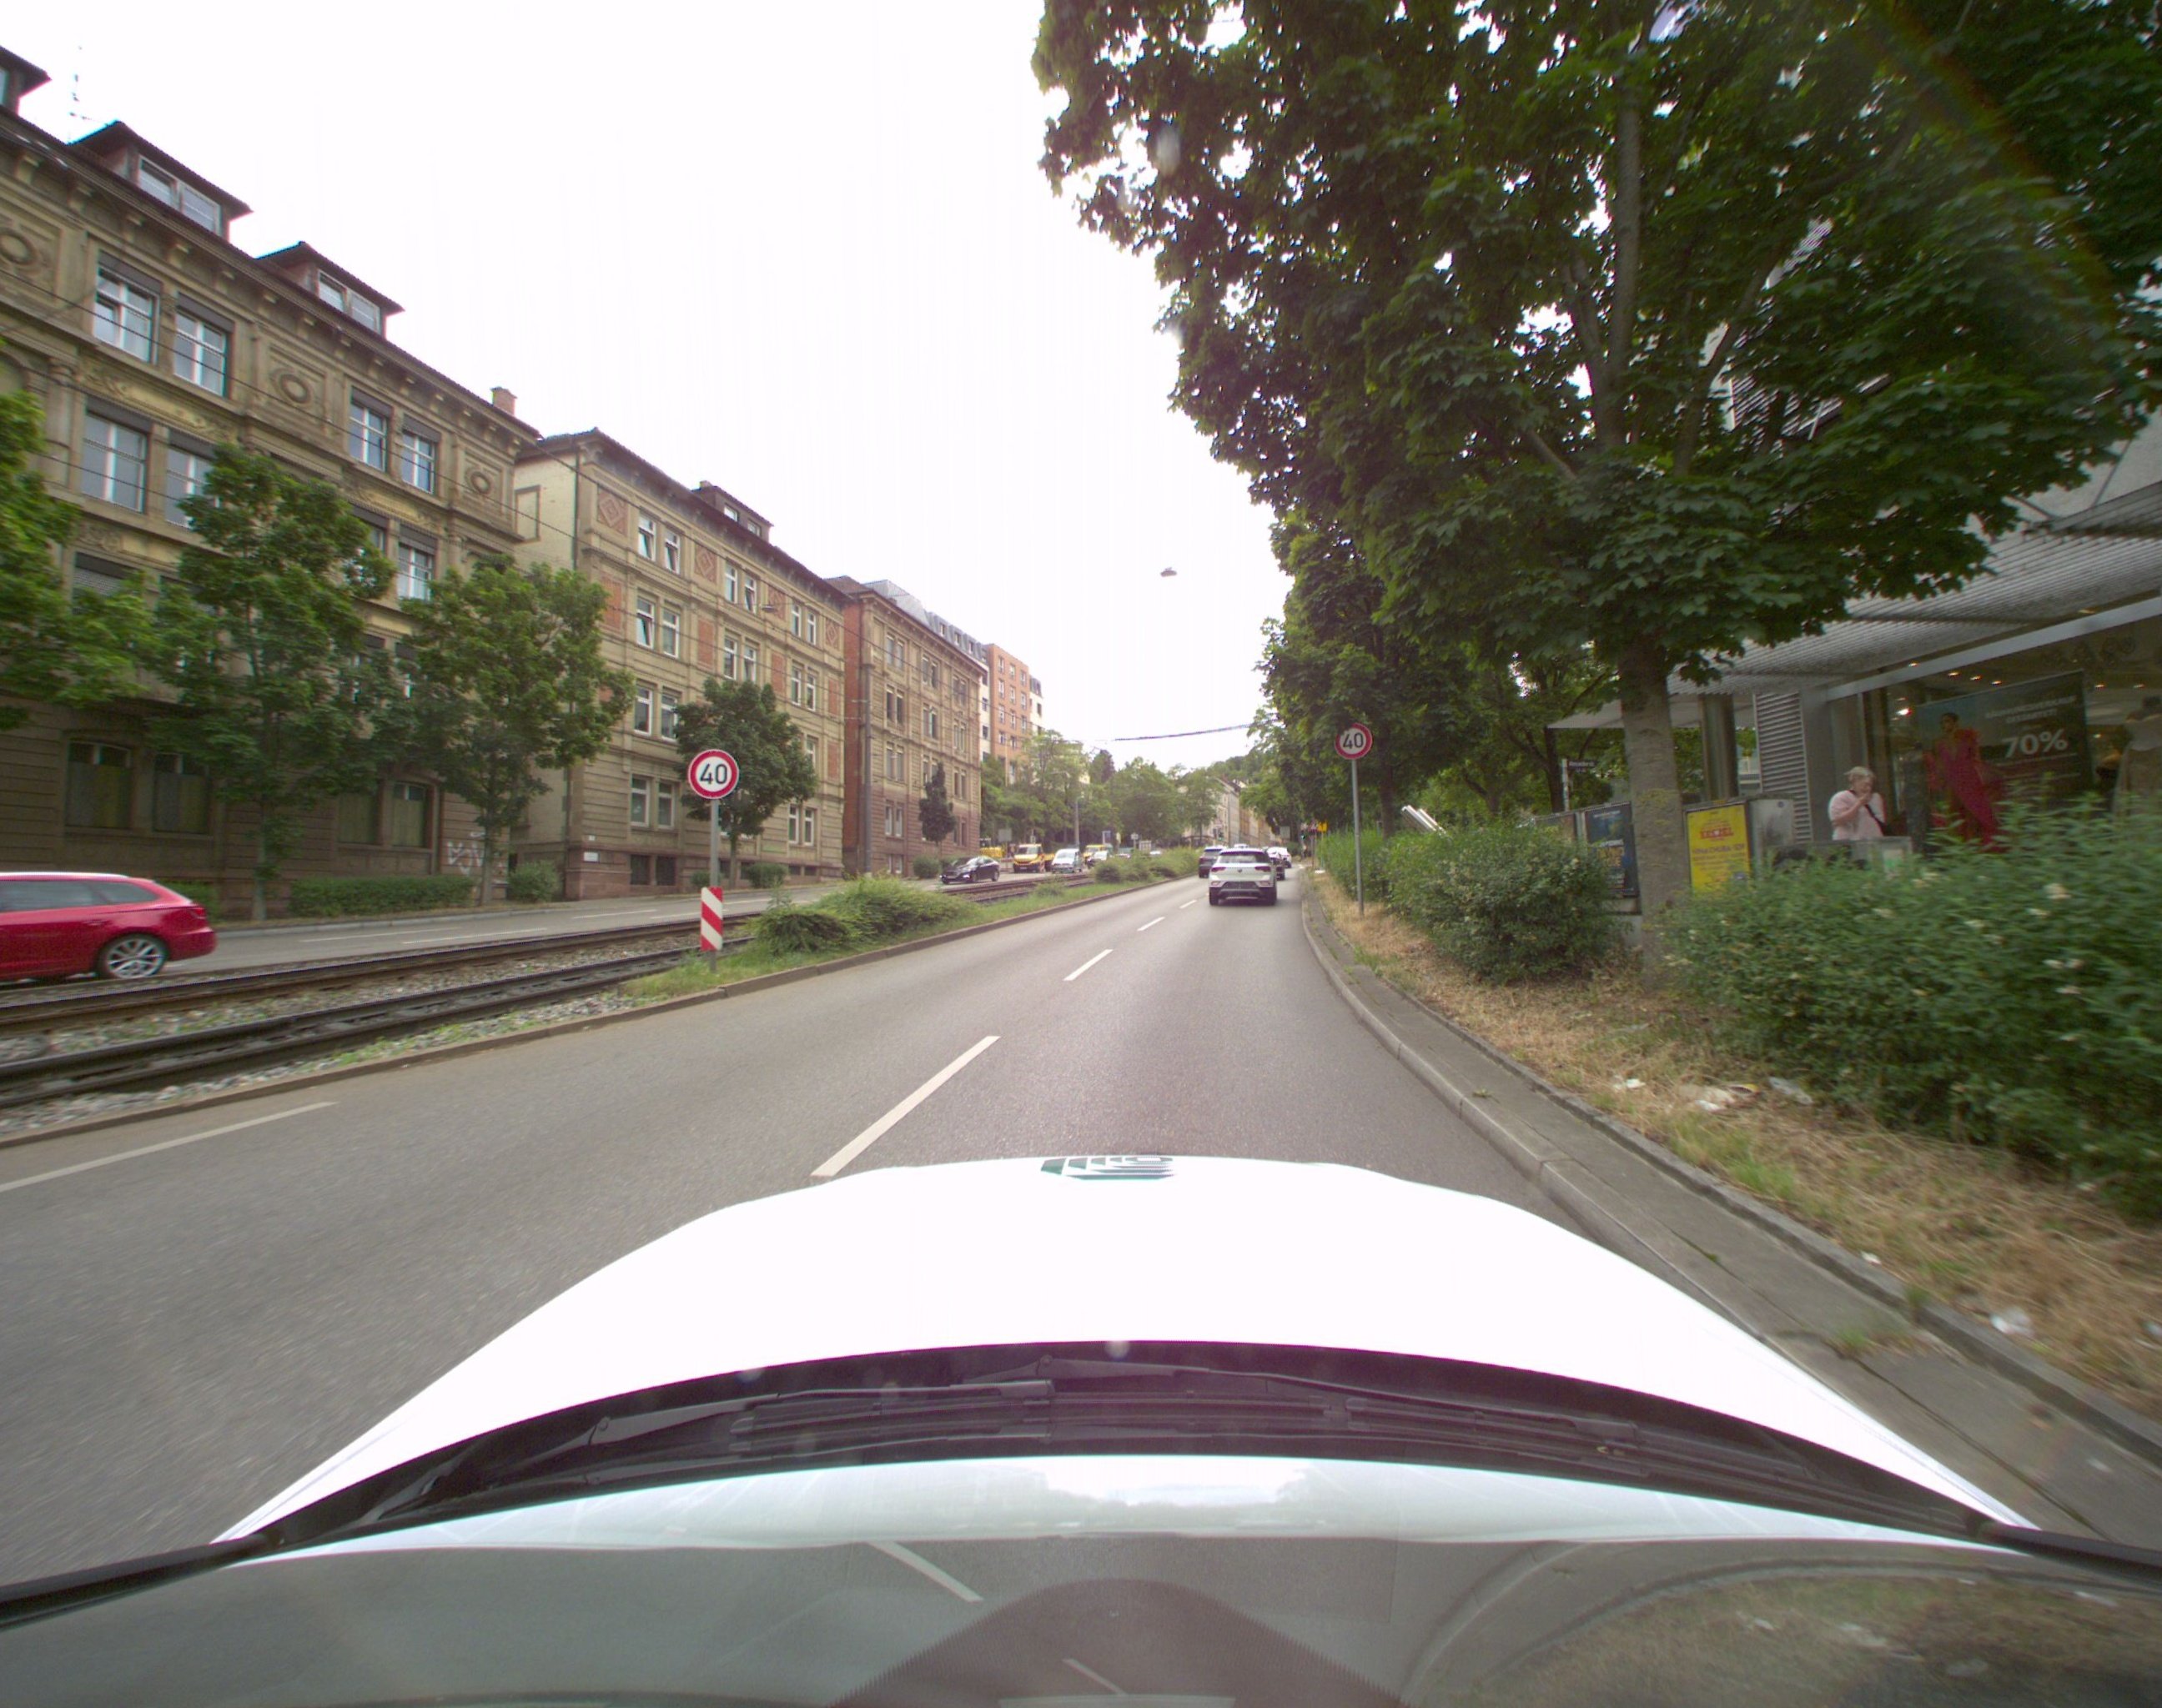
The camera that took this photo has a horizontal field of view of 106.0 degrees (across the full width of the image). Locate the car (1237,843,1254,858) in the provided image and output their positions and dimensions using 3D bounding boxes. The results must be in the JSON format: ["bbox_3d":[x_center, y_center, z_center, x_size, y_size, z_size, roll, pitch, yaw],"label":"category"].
[{"bbox_3d":[24.625,-0.476,121.824,2.405,2.169,6.055,0,0,13],"label":"car"}]

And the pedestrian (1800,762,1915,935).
[{"bbox_3d":[8.350,-0.056,8.775,0.672,1.794,0.608,0,0,-5],"label":"pedestrian"}]

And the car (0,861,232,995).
[{"bbox_3d":[-13.361,0.870,9.465,1.980,1.519,4.421,-1,0,13],"label":"car"}]

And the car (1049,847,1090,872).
[{"bbox_3d":[-0.839,0.396,61.666,1.866,1.788,4.534,-3,-1,14],"label":"car"}]

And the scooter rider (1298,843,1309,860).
[{"bbox_3d":[20.629,-0.214,75.624,0.777,1.558,0.531,-2,-1,-8],"label":"scooter rider"}]

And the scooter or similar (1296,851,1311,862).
[{"bbox_3d":[20.671,0.217,75.623,1.186,0.994,0.530,-3,-1,-8],"label":"scooter or similar"}]

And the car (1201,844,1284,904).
[{"bbox_3d":[4.738,0.545,23.468,1.923,1.566,4.064,-1,-1,17],"label":"car"}]

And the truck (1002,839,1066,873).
[{"bbox_3d":[-3.673,0.209,65.818,2.895,2.510,7.181,1,-2,15],"label":"truck"}]

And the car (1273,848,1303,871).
[{"bbox_3d":[14.709,0.380,57.989,1.980,1.623,4.014,0,0,13],"label":"car"}]

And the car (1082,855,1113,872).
[{"bbox_3d":[1.544,0.891,74.866,1.851,1.555,4.455,0,-1,15],"label":"car"}]

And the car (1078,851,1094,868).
[{"bbox_3d":[0.482,0.527,78.566,1.181,1.587,3.095,0,0,6],"label":"car"}]

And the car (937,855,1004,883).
[{"bbox_3d":[-5.974,0.784,44.542,1.805,1.450,4.966,0,0,15],"label":"car"}]

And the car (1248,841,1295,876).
[{"bbox_3d":[9.298,0.270,40.073,1.892,1.574,3.842,1,-2,8],"label":"car"}]

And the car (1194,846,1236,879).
[{"bbox_3d":[7.365,0.441,44.576,1.826,1.740,4.016,0,0,16],"label":"car"}]

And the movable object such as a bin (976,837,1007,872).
[{"bbox_3d":[-7.471,0.088,68.299,1.981,2.838,2.035,-2,-1,10],"label":"movable object such as a bin"}]
